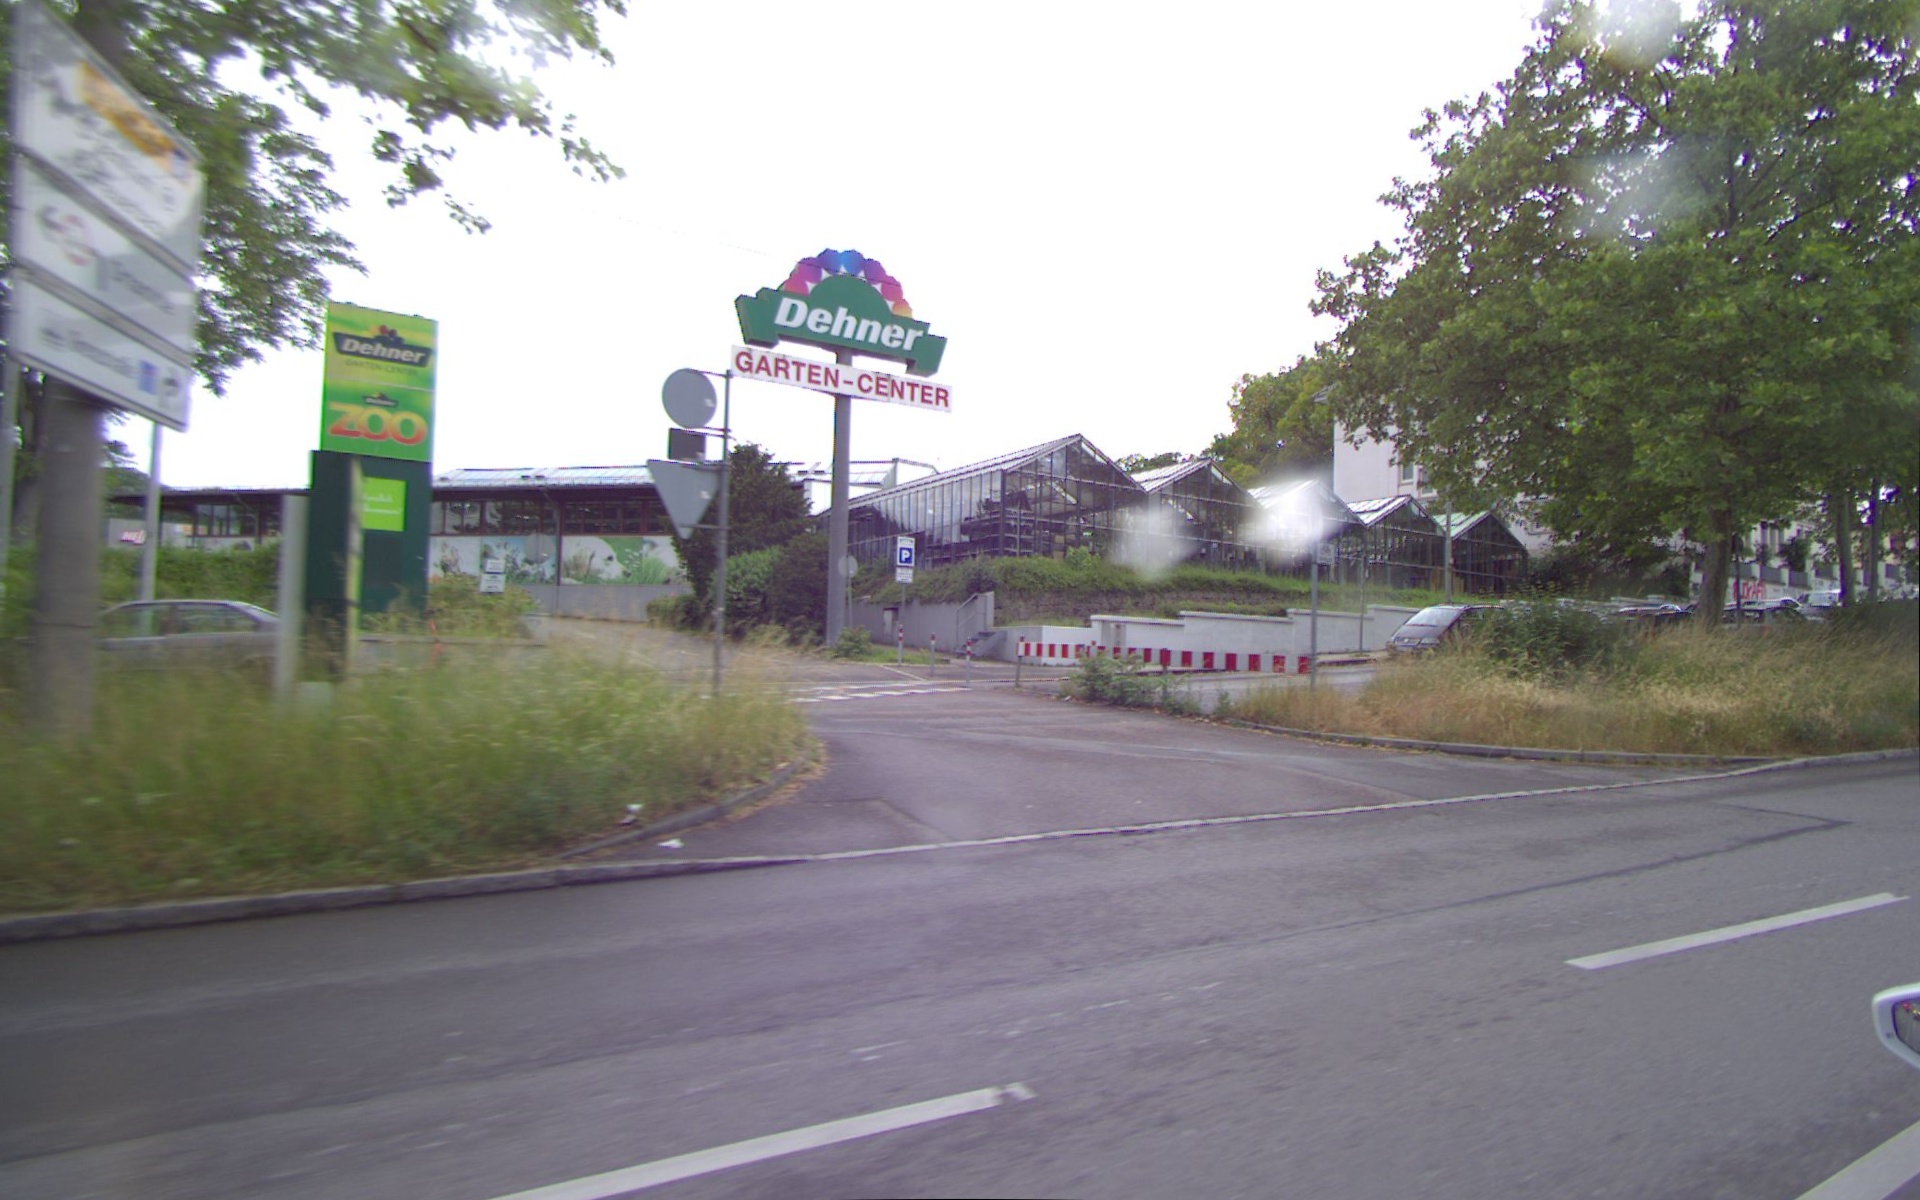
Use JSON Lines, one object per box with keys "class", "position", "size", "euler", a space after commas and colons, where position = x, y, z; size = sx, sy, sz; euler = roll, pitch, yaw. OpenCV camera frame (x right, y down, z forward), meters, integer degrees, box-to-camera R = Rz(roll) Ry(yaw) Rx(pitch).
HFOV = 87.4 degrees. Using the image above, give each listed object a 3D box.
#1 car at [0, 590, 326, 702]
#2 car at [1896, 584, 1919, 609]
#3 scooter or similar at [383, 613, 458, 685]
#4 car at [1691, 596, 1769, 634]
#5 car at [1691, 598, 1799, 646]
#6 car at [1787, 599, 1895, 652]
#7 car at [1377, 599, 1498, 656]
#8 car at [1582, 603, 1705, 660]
{"class": "car", "position": [-10.899, 0.635, 13.212], "size": [4.231, 1.335, 1.394], "euler": [3, -4, -31]}
{"class": "car", "position": [50.087, -0.178, 52.409], "size": [2.424, 1.148, 1.208], "euler": [3, -4, -30]}
{"class": "scooter or similar", "position": [-9.768, 0.889, 18.197], "size": [1.118, 1.261, 0.492], "euler": [3, -2, -32]}
{"class": "car", "position": [30.350, 0.625, 39.584], "size": [3.050, 1.326, 1.354], "euler": [3, -4, -30]}
{"class": "car", "position": [20.173, 0.592, 25.809], "size": [2.723, 1.110, 1.343], "euler": [3, -4, -32]}
{"class": "car", "position": [25.317, 0.754, 28.860], "size": [3.139, 1.379, 1.428], "euler": [3, -4, -31]}
{"class": "car", "position": [13.972, 0.834, 29.367], "size": [3.479, 1.506, 1.640], "euler": [3, -4, -32]}
{"class": "car", "position": [15.445, 0.738, 22.682], "size": [2.723, 1.145, 1.343], "euler": [3, -4, -32]}
